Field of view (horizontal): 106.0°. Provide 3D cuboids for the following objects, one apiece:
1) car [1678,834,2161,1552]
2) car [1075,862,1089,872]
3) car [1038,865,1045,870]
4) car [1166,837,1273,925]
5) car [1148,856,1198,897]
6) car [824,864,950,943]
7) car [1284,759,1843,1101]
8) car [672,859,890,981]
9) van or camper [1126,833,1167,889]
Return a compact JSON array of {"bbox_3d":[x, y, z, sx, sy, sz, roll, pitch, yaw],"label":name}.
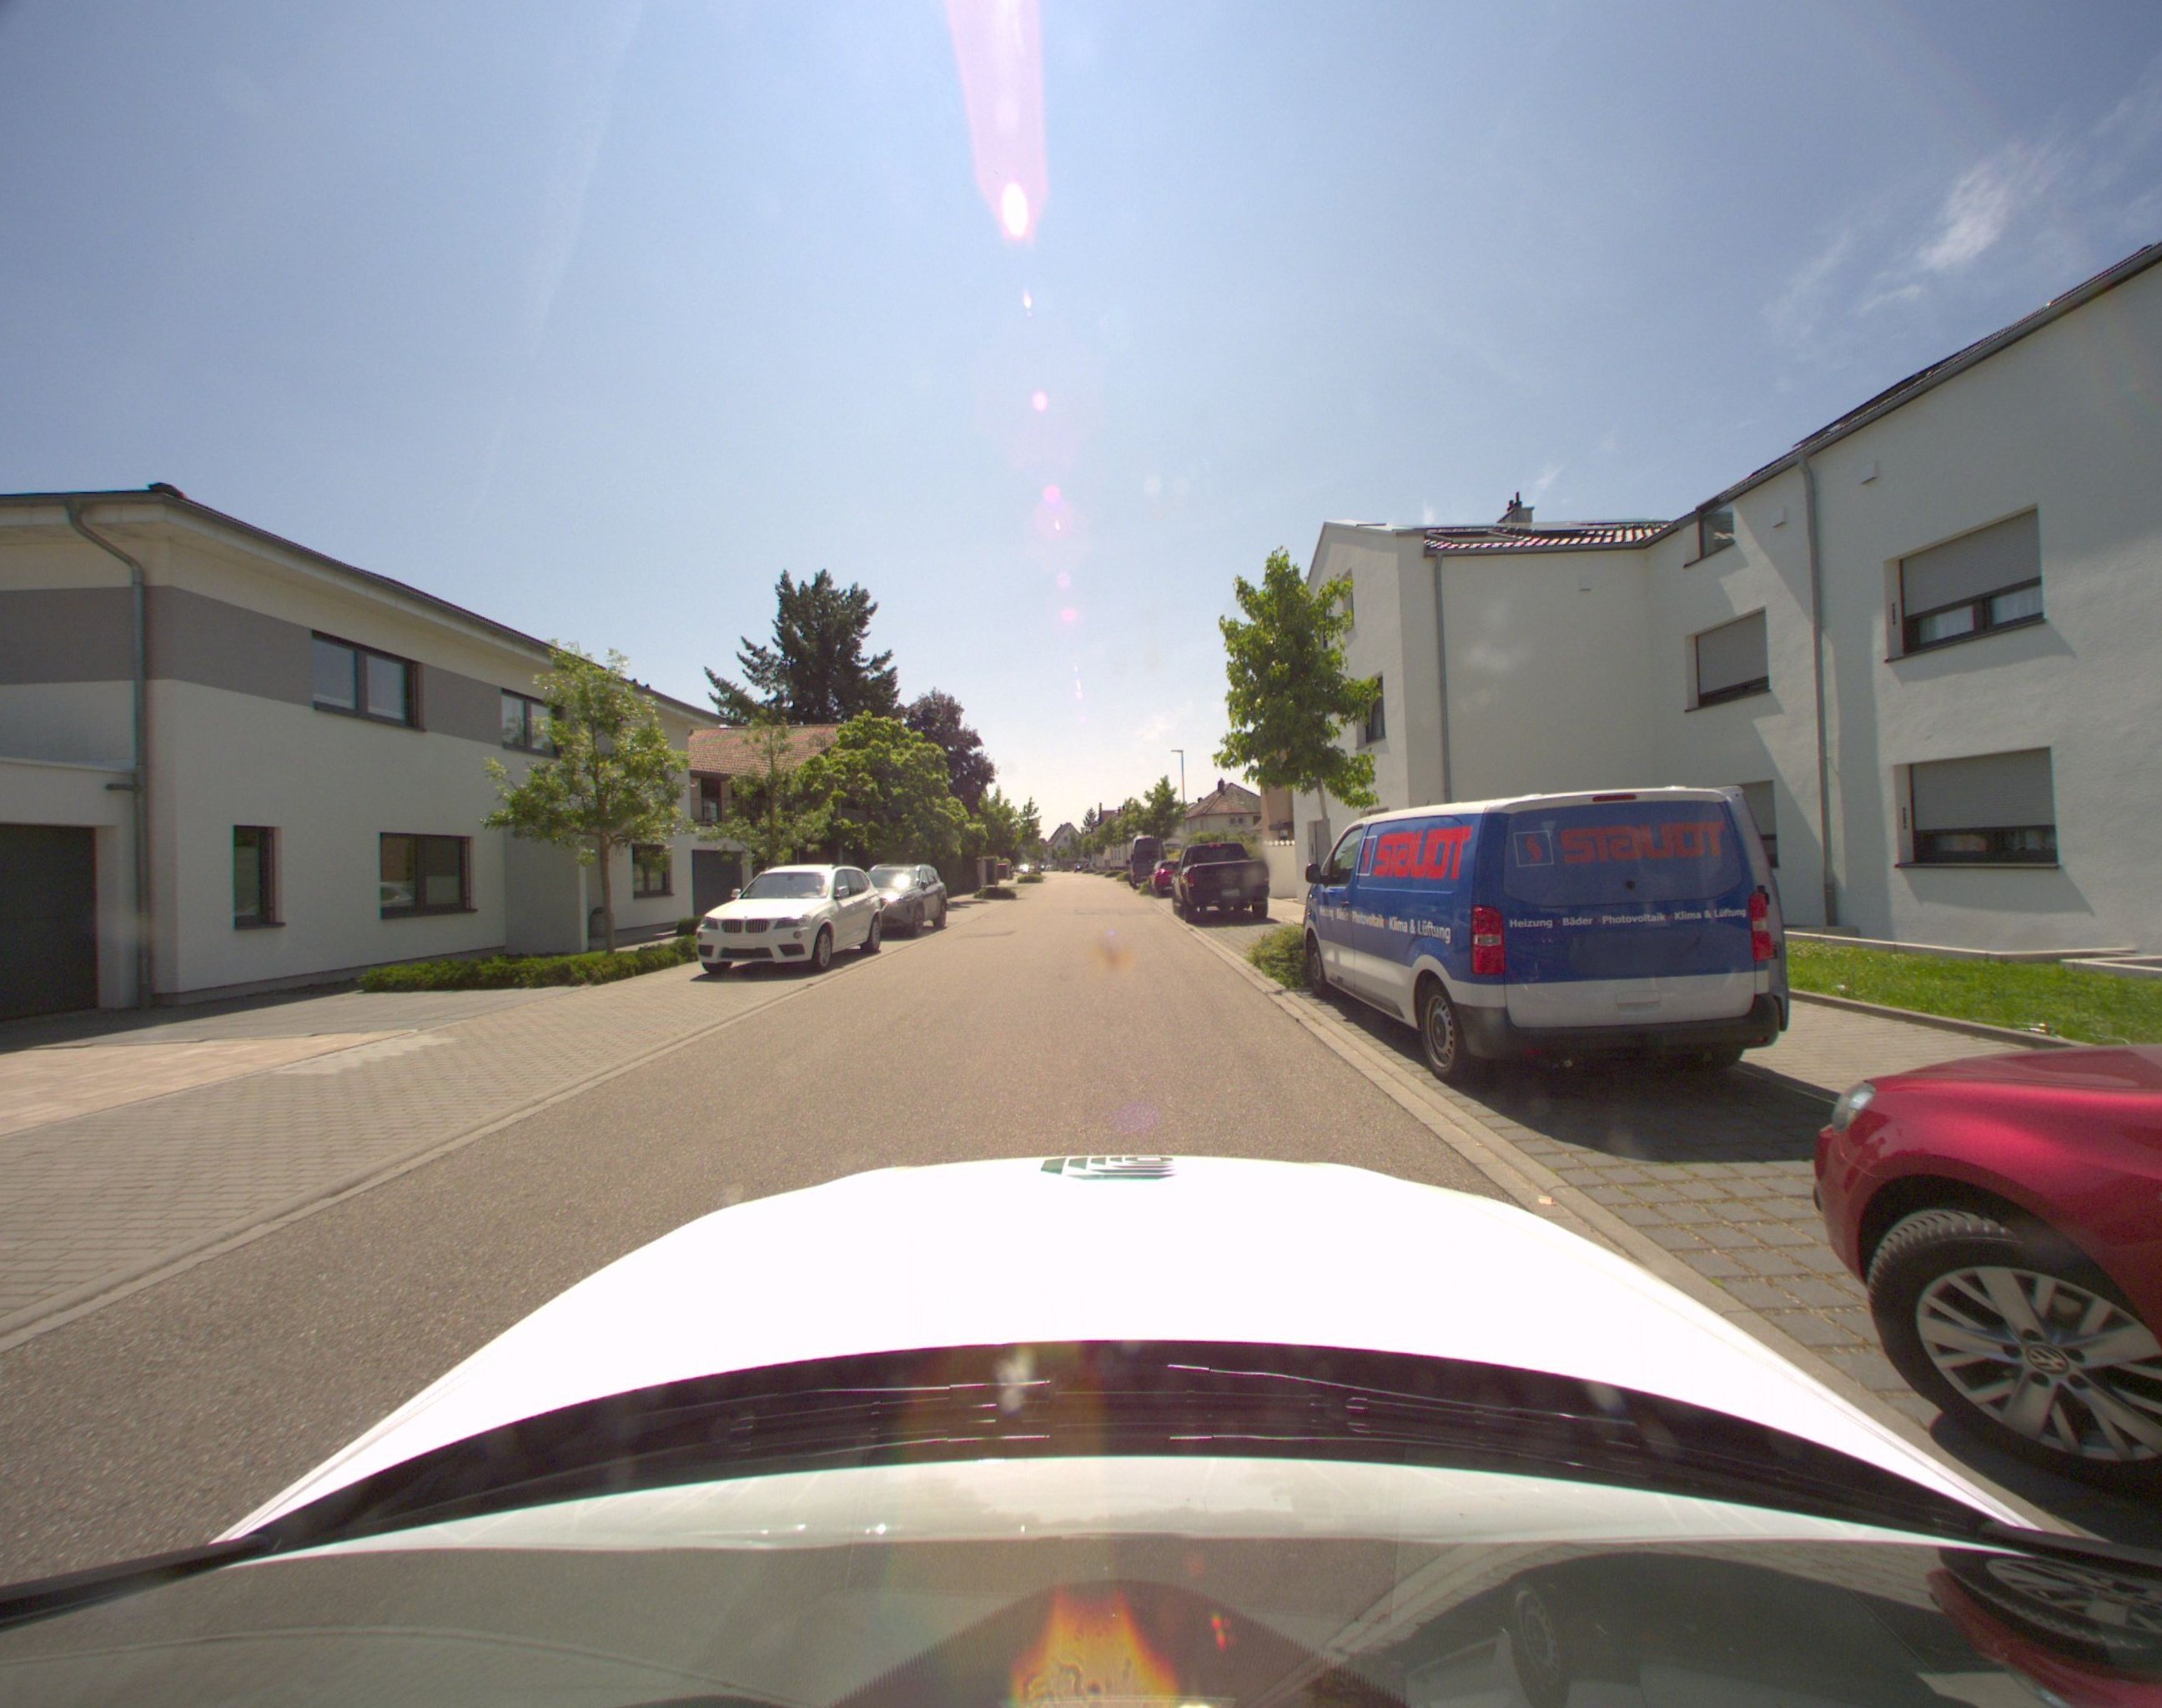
[{"bbox_3d":[3.035,0.670,0.929,1.675,1.441,4.025,-3,0,-1],"label":"car"},{"bbox_3d":[0.148,2.237,140.599,1.990,1.574,3.994,-2,-1,-4],"label":"car"},{"bbox_3d":[-9.758,3.291,201.256,1.660,1.251,3.926,-3,-1,-4],"label":"car"},{"bbox_3d":[3.507,0.648,21.613,1.986,1.947,5.216,-3,-1,2],"label":"car"},{"bbox_3d":[3.954,0.948,35.544,1.665,1.595,3.554,-3,-1,-1],"label":"car"},{"bbox_3d":[-4.687,1.135,20.362,1.986,1.680,4.215,-2,-1,2],"label":"car"},{"bbox_3d":[3.368,0.458,7.108,2.091,1.882,4.845,-2,-1,2],"label":"car"},{"bbox_3d":[-4.877,0.972,14.052,1.920,1.687,4.499,-2,-1,2],"label":"car"},{"bbox_3d":[3.672,0.397,46.414,1.986,2.941,4.001,-3,-1,1],"label":"van or camper"}]
